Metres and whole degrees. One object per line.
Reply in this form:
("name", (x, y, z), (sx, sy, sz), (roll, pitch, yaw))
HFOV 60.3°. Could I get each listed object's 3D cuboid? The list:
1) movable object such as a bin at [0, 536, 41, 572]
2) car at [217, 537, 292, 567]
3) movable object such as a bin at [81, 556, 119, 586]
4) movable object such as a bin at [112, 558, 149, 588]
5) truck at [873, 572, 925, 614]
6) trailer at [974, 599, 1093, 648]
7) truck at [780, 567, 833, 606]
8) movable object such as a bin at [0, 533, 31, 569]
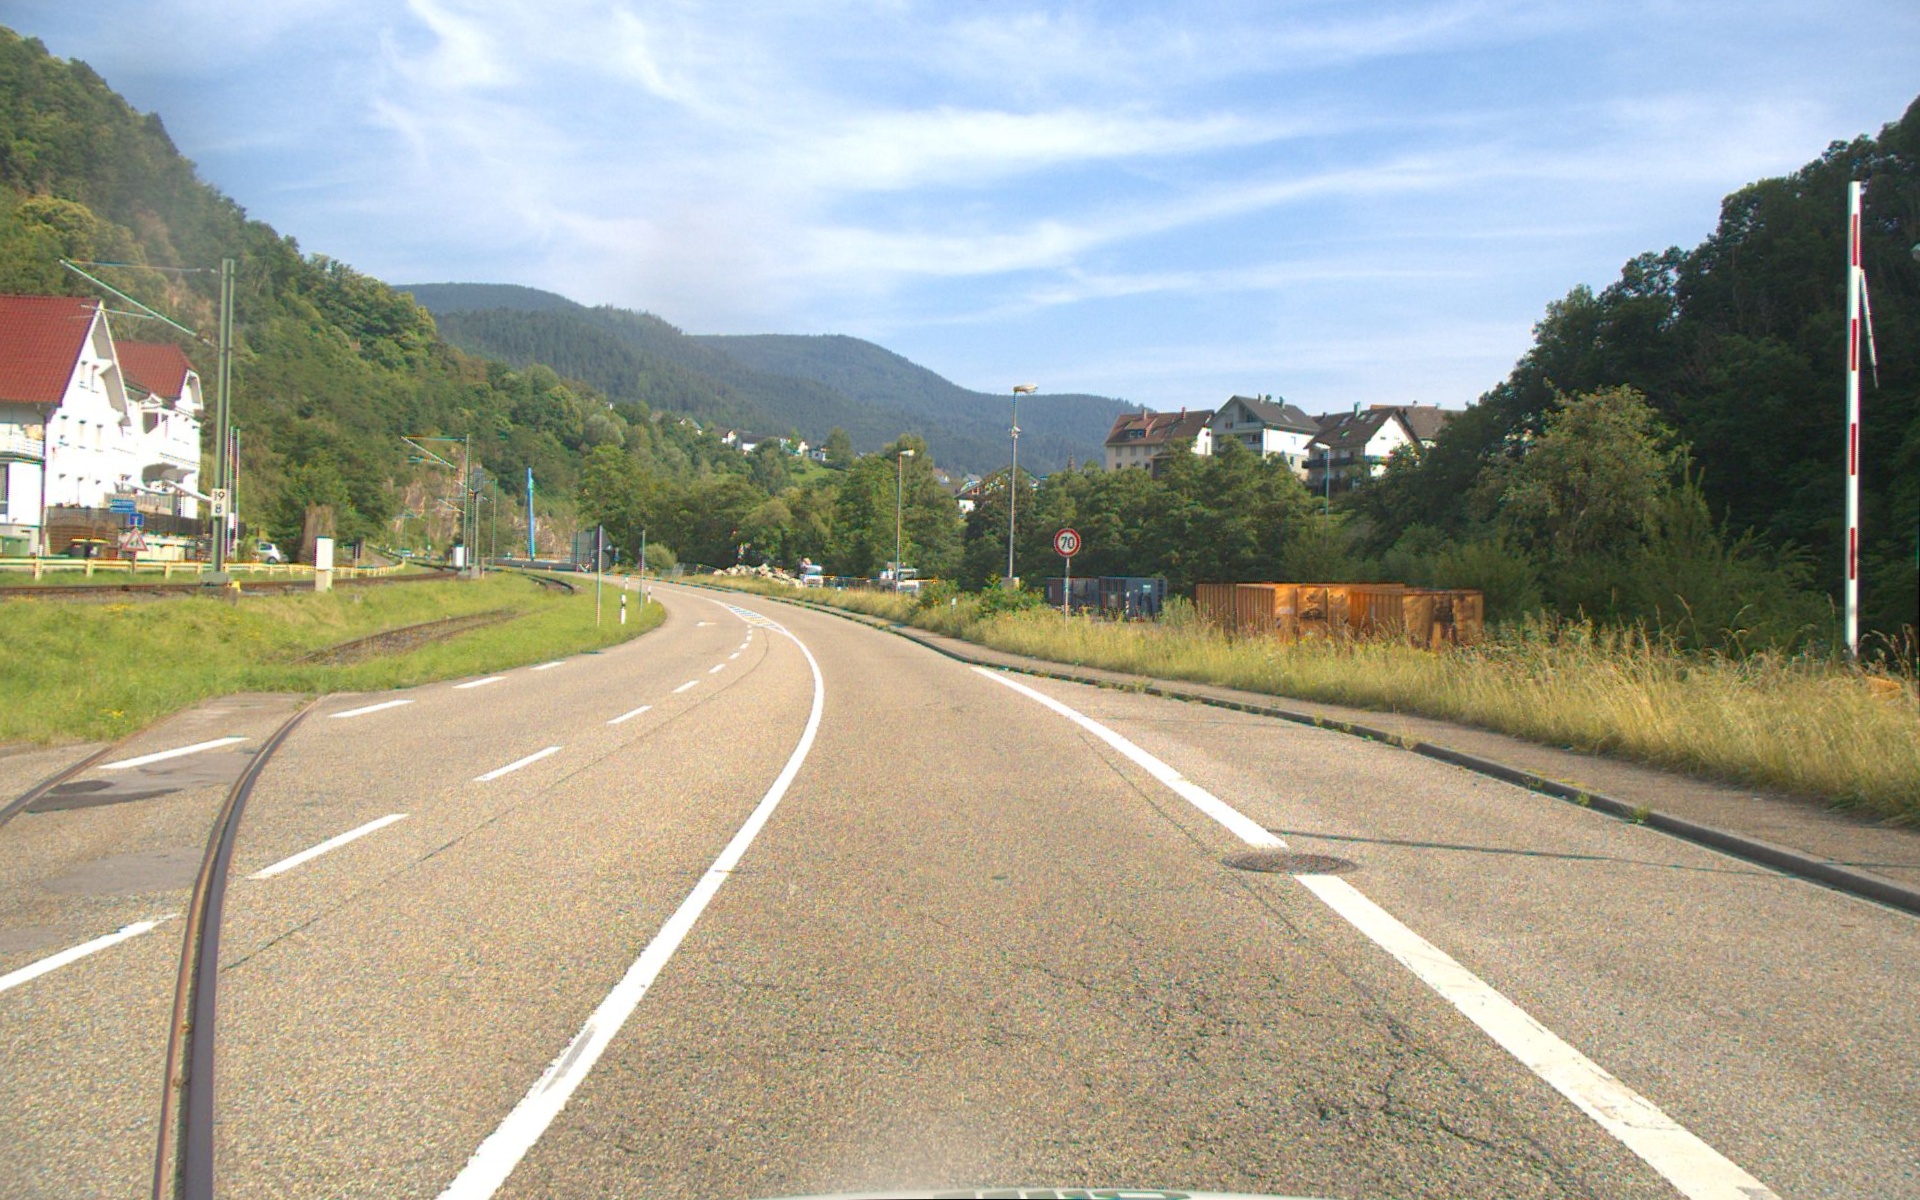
("movable object such as a bin", (-33.411, -1.641, 58.697), (1.121, 1.212, 1.088), (3, 0, -16))
("car", (-45.725, -3.096, 107.288), (4.071, 1.721, 1.995), (2, 0, -12))
("movable object such as a bin", (-36.251, -1.204, 69.737), (1.070, 1.212, 1.140), (3, 0, -11))
("movable object such as a bin", (-35.147, -1.131, 70.056), (1.070, 1.212, 1.140), (3, 0, -11))
("truck", (-6.110, -0.765, 163.504), (3.052, 3.847, 8.609), (3, 0, -15))
("trailer", (2.779, 0.868, 66.382), (2.741, 1.500, 9.865), (4, 0, -9))
("truck", (-16.720, -1.489, 179.484), (3.063, 3.847, 8.580), (3, 0, -24))
("movable object such as a bin", (-33.092, -1.712, 57.511), (1.121, 1.212, 1.088), (3, 0, -16))
